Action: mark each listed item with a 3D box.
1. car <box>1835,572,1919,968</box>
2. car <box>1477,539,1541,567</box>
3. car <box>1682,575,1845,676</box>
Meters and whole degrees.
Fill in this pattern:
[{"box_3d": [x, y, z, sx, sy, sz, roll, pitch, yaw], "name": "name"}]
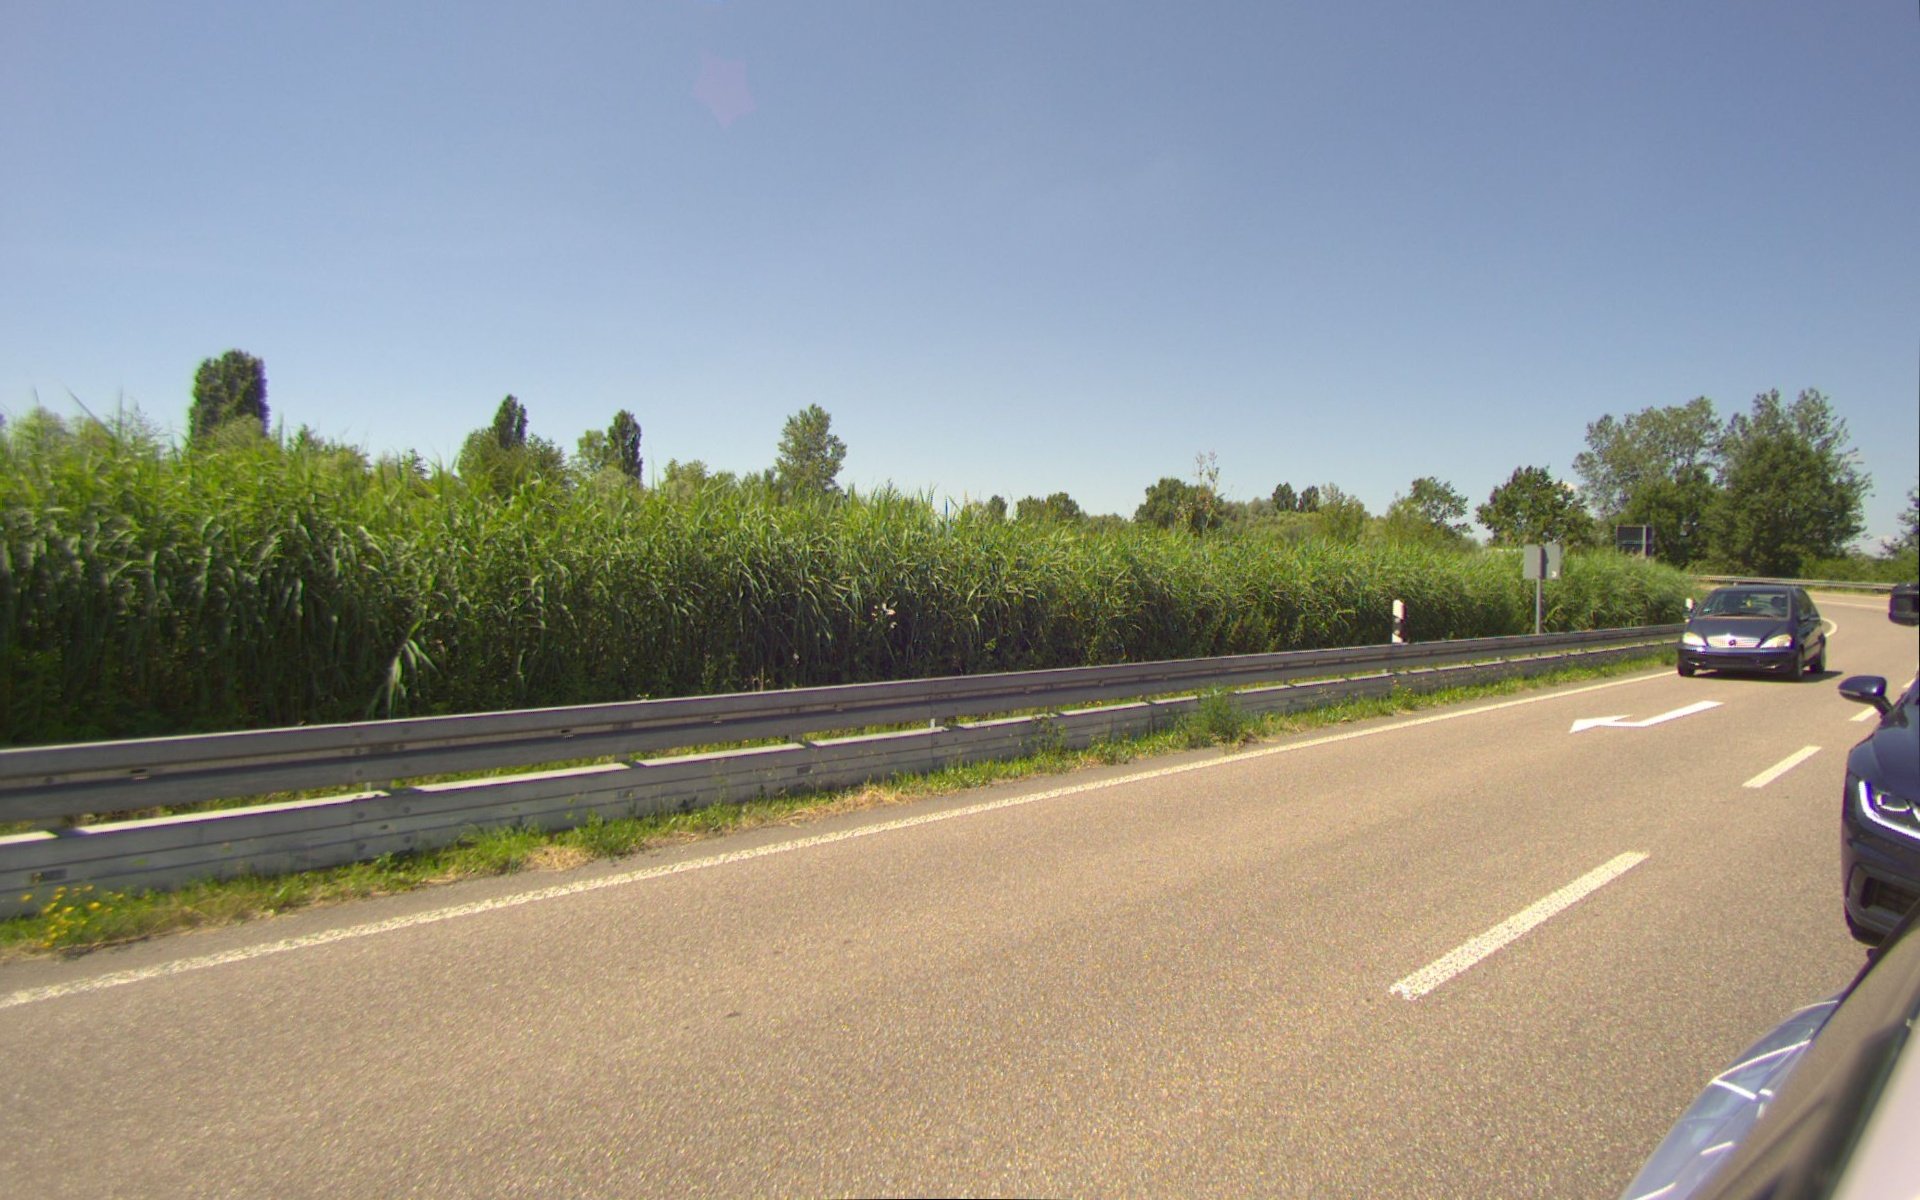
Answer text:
[{"box_3d": [5.653, 0.622, 4.694, 4.338, 1.481, 1.818, -1, 1, -41], "name": "car"}, {"box_3d": [49.730, -4.314, 91.791, 1.959, 2.445, 5.604, -2, 4, -12], "name": "car"}, {"box_3d": [14.317, 0.382, 17.980, 3.492, 1.620, 1.671, -1, 1, -41], "name": "car"}]
